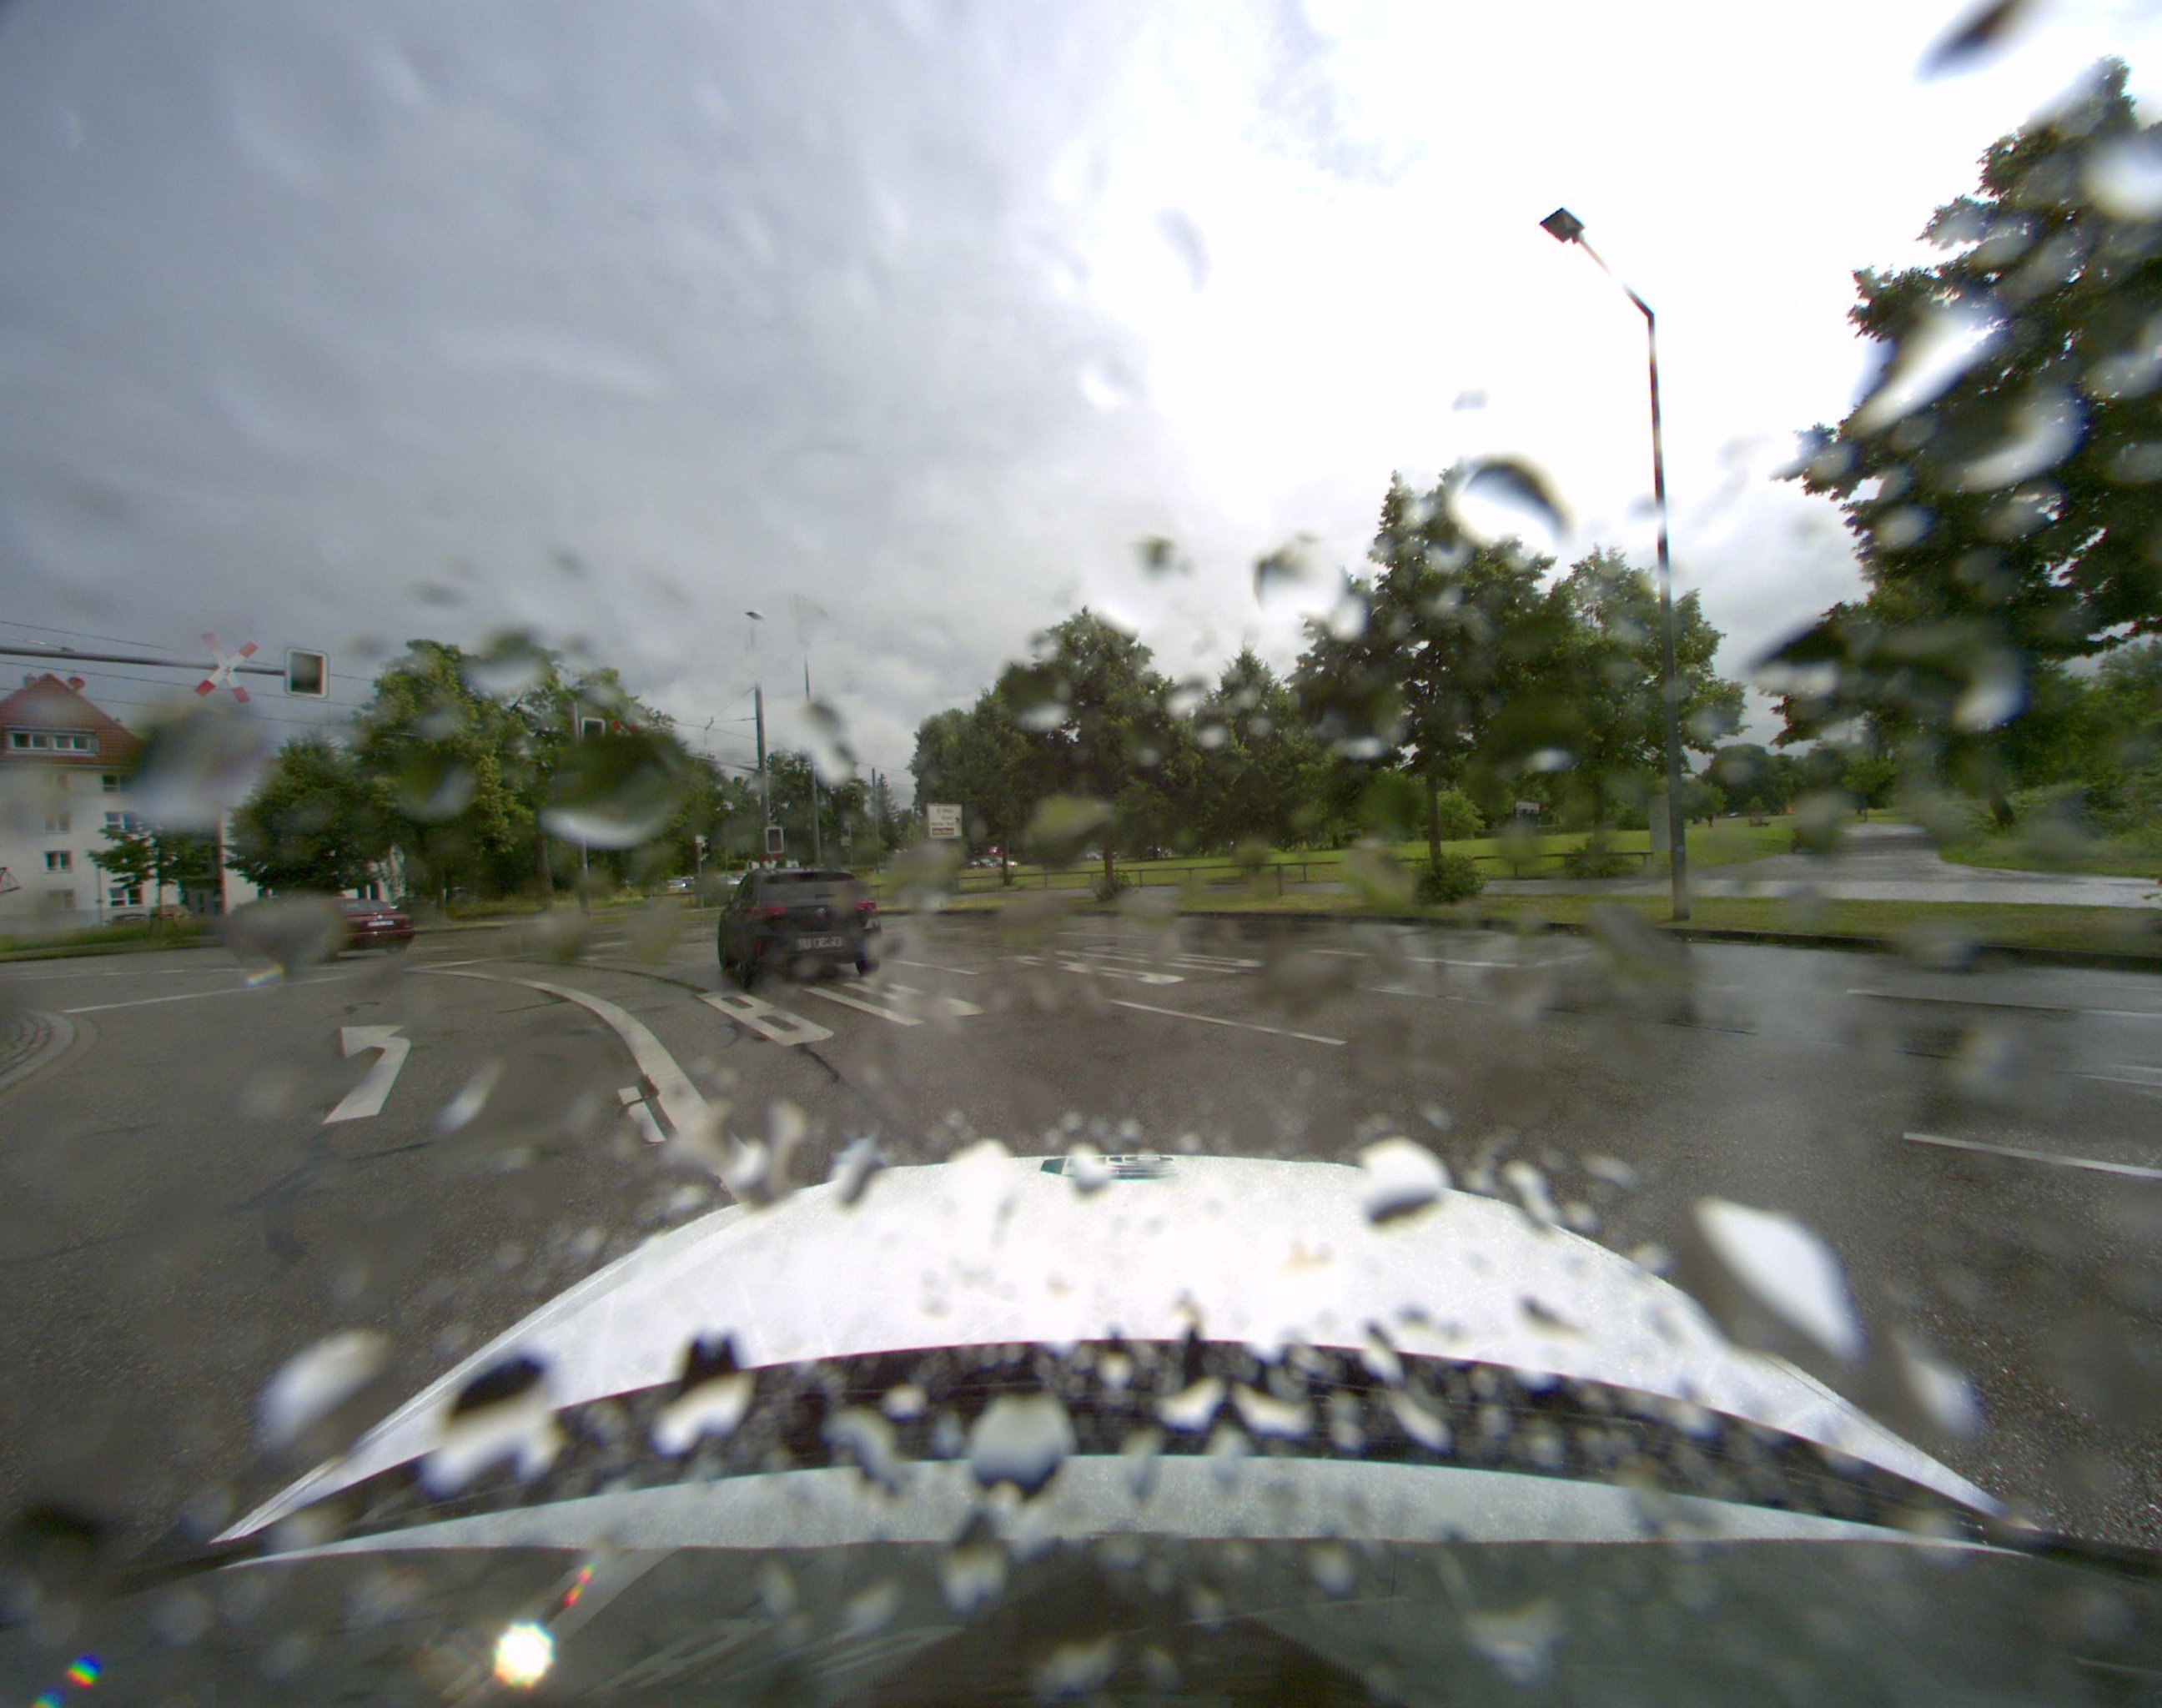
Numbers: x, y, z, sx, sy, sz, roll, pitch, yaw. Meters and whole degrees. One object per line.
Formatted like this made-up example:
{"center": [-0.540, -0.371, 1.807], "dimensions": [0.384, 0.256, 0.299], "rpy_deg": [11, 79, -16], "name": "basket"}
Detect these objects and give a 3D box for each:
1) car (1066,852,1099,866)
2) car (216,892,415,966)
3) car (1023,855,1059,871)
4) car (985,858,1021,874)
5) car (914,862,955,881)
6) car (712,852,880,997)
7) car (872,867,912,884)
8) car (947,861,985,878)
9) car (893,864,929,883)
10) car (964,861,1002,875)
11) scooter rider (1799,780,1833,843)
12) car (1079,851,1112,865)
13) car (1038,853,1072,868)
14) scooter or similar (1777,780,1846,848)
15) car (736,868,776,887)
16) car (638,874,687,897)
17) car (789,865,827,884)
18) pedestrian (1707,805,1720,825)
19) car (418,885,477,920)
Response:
{"center": [0.182, 0.688, 104.360], "dimensions": [3.927, 1.559, 1.862], "rpy_deg": [-4, 0, 39], "name": "car"}
{"center": [-18.176, 1.784, 19.354], "dimensions": [3.954, 1.462, 1.729], "rpy_deg": [-3, 1, 19], "name": "car"}
{"center": [-4.867, 1.089, 98.605], "dimensions": [3.927, 1.559, 1.862], "rpy_deg": [-4, 0, 39], "name": "car"}
{"center": [-8.938, 1.407, 93.138], "dimensions": [3.927, 1.559, 1.862], "rpy_deg": [-4, 0, 39], "name": "car"}
{"center": [-15.350, 1.862, 85.361], "dimensions": [3.948, 1.714, 2.013], "rpy_deg": [-4, 0, 40], "name": "car"}
{"center": [-4.245, 0.841, 12.005], "dimensions": [1.905, 1.617, 3.971], "rpy_deg": [-3, 2, -22], "name": "car"}
{"center": [-18.903, 2.154, 81.407], "dimensions": [3.948, 1.527, 1.811], "rpy_deg": [-4, 0, 39], "name": "car"}
{"center": [-12.548, 1.691, 88.945], "dimensions": [3.927, 1.559, 1.862], "rpy_deg": [-4, 0, 39], "name": "car"}
{"center": [-17.347, 2.002, 83.209], "dimensions": [3.582, 1.660, 1.560], "rpy_deg": [-4, 0, 39], "name": "car"}
{"center": [-10.989, 1.600, 91.212], "dimensions": [3.927, 1.308, 1.862], "rpy_deg": [-4, 0, 39], "name": "car"}
{"center": [24.098, -1.374, 26.704], "dimensions": [0.775, 2.014, 0.697], "rpy_deg": [-1, -2, -44], "name": "scooter rider"}
{"center": [1.958, 0.542, 107.443], "dimensions": [3.927, 1.559, 1.862], "rpy_deg": [-4, 0, 39], "name": "car"}
{"center": [-3.220, 0.852, 101.906], "dimensions": [3.927, 1.559, 1.862], "rpy_deg": [-4, 0, 39], "name": "car"}
{"center": [23.739, -1.244, 26.437], "dimensions": [3.427, 2.014, 1.225], "rpy_deg": [-1, -1, -41], "name": "scooter or similar"}
{"center": [-27.781, 2.018, 69.573], "dimensions": [3.564, 1.461, 1.656], "rpy_deg": [-3, 0, 42], "name": "car"}
{"center": [-32.603, 2.473, 63.456], "dimensions": [3.927, 1.559, 1.862], "rpy_deg": [-4, 0, 39], "name": "car"}
{"center": [-24.682, 1.834, 73.616], "dimensions": [3.604, 1.510, 1.660], "rpy_deg": [-3, 0, 44], "name": "car"}
{"center": [55.315, -3.387, 71.189], "dimensions": [0.601, 1.732, 0.599], "rpy_deg": [-2, -1, 2], "name": "pedestrian"}
{"center": [-41.786, 3.145, 53.672], "dimensions": [5.095, 2.057, 2.127], "rpy_deg": [-2, 2, 43], "name": "car"}
